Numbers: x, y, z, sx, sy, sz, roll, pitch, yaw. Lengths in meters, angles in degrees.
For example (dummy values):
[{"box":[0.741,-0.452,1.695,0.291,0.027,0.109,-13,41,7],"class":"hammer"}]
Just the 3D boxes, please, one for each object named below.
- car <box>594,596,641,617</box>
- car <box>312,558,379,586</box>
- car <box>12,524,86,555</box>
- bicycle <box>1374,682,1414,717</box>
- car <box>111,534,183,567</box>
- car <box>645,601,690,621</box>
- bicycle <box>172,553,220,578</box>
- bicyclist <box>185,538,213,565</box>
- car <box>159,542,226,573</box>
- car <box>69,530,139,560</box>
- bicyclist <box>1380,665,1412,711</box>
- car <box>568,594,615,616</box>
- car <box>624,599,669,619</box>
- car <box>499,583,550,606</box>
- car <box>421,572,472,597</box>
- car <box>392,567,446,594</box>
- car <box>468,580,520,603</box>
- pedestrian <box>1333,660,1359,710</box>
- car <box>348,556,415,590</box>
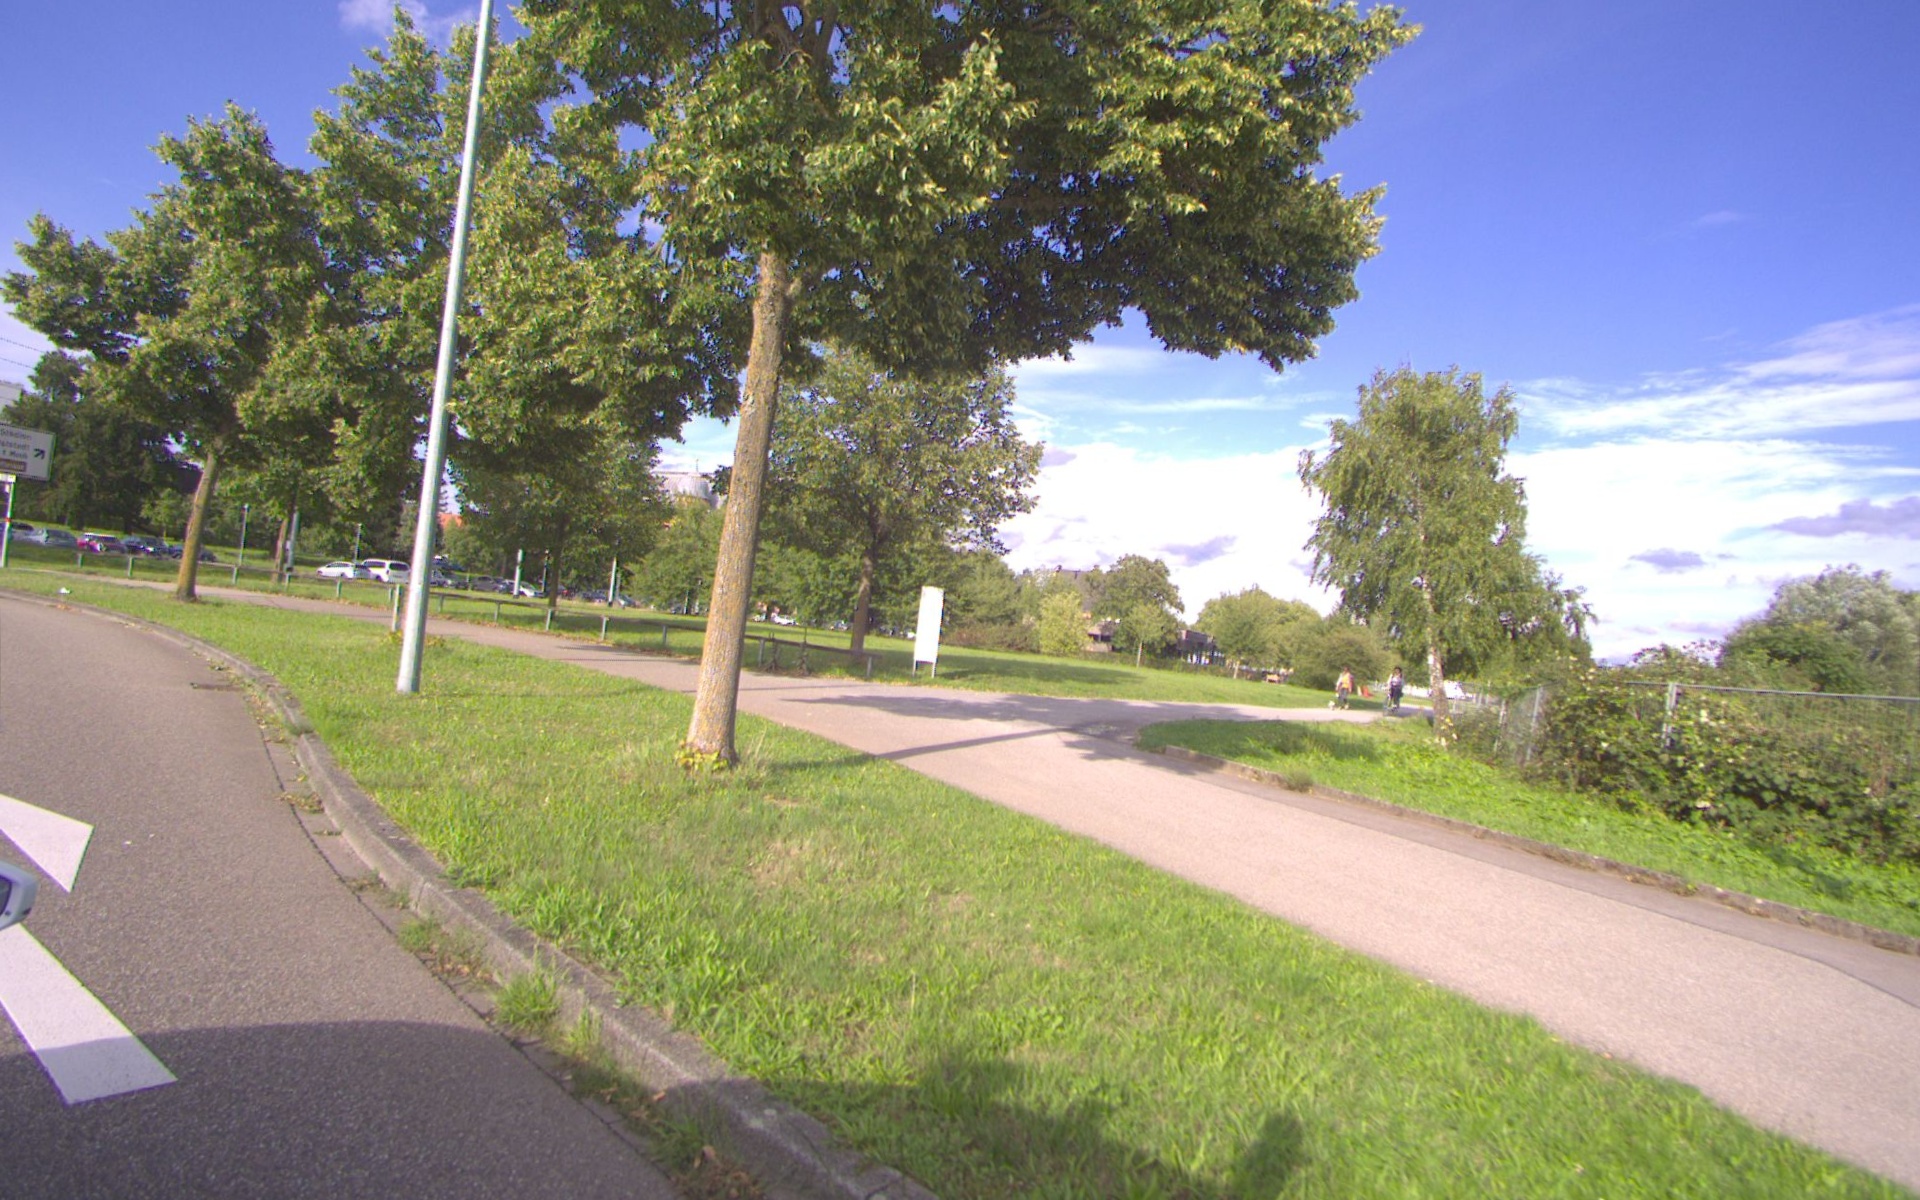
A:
[{"box":[-32.647,0.614,95.769,4.399,1.559,1.855,5,-2,34],"class":"car"},{"box":[-44.829,-2.027,73.359,4.388,1.533,1.861,5,-2,23],"class":"car"},{"box":[-53.418,-3.562,58.977,4.753,1.374,1.858,5,-2,31],"class":"car"},{"box":[16.107,3.699,37.256,0.791,1.139,2.595,5,-2,34],"class":"bicycle"},{"box":[-50.849,-3.103,62.890,4.863,1.533,1.858,5,-2,31],"class":"car"},{"box":[-29.514,1.136,101.509,4.399,1.559,1.855,5,-2,34],"class":"car"},{"box":[-43.515,-1.948,57.342,0.701,1.237,2.529,6,-1,0],"class":"bicycle"},{"box":[-43.442,-2.757,57.431,0.701,1.371,1.006,6,-1,0],"class":"bicyclist"},{"box":[-49.783,-2.777,65.264,4.395,1.533,1.858,5,-2,31],"class":"car"},{"box":[-52.052,-3.324,61.129,4.395,1.379,1.858,5,-2,31],"class":"car"},{"box":[16.099,3.255,37.149,0.791,1.565,0.902,5,-1,35],"class":"bicyclist"},{"box":[-34.322,0.472,93.741,4.399,1.533,1.799,5,-2,34],"class":"car"},{"box":[-30.945,0.847,99.305,4.399,1.471,1.855,5,-2,34],"class":"car"},{"box":[-37.554,-0.500,86.668,4.399,1.522,1.857,5,-2,34],"class":"car"},{"box":[-41.130,-1.247,80.515,4.053,1.533,2.029,5,-2,39],"class":"car"},{"box":[-42.342,-1.538,78.679,4.404,1.694,2.095,5,-2,39],"class":"car"},{"box":[-39.099,-0.723,84.415,4.399,1.415,1.857,5,-2,34],"class":"car"},{"box":[14.412,3.178,37.570,0.657,1.753,0.596,5,-1,33],"class":"pedestrian"},{"box":[-43.678,-2.035,75.919,5.032,2.031,2.311,5,-2,34],"class":"car"}]
